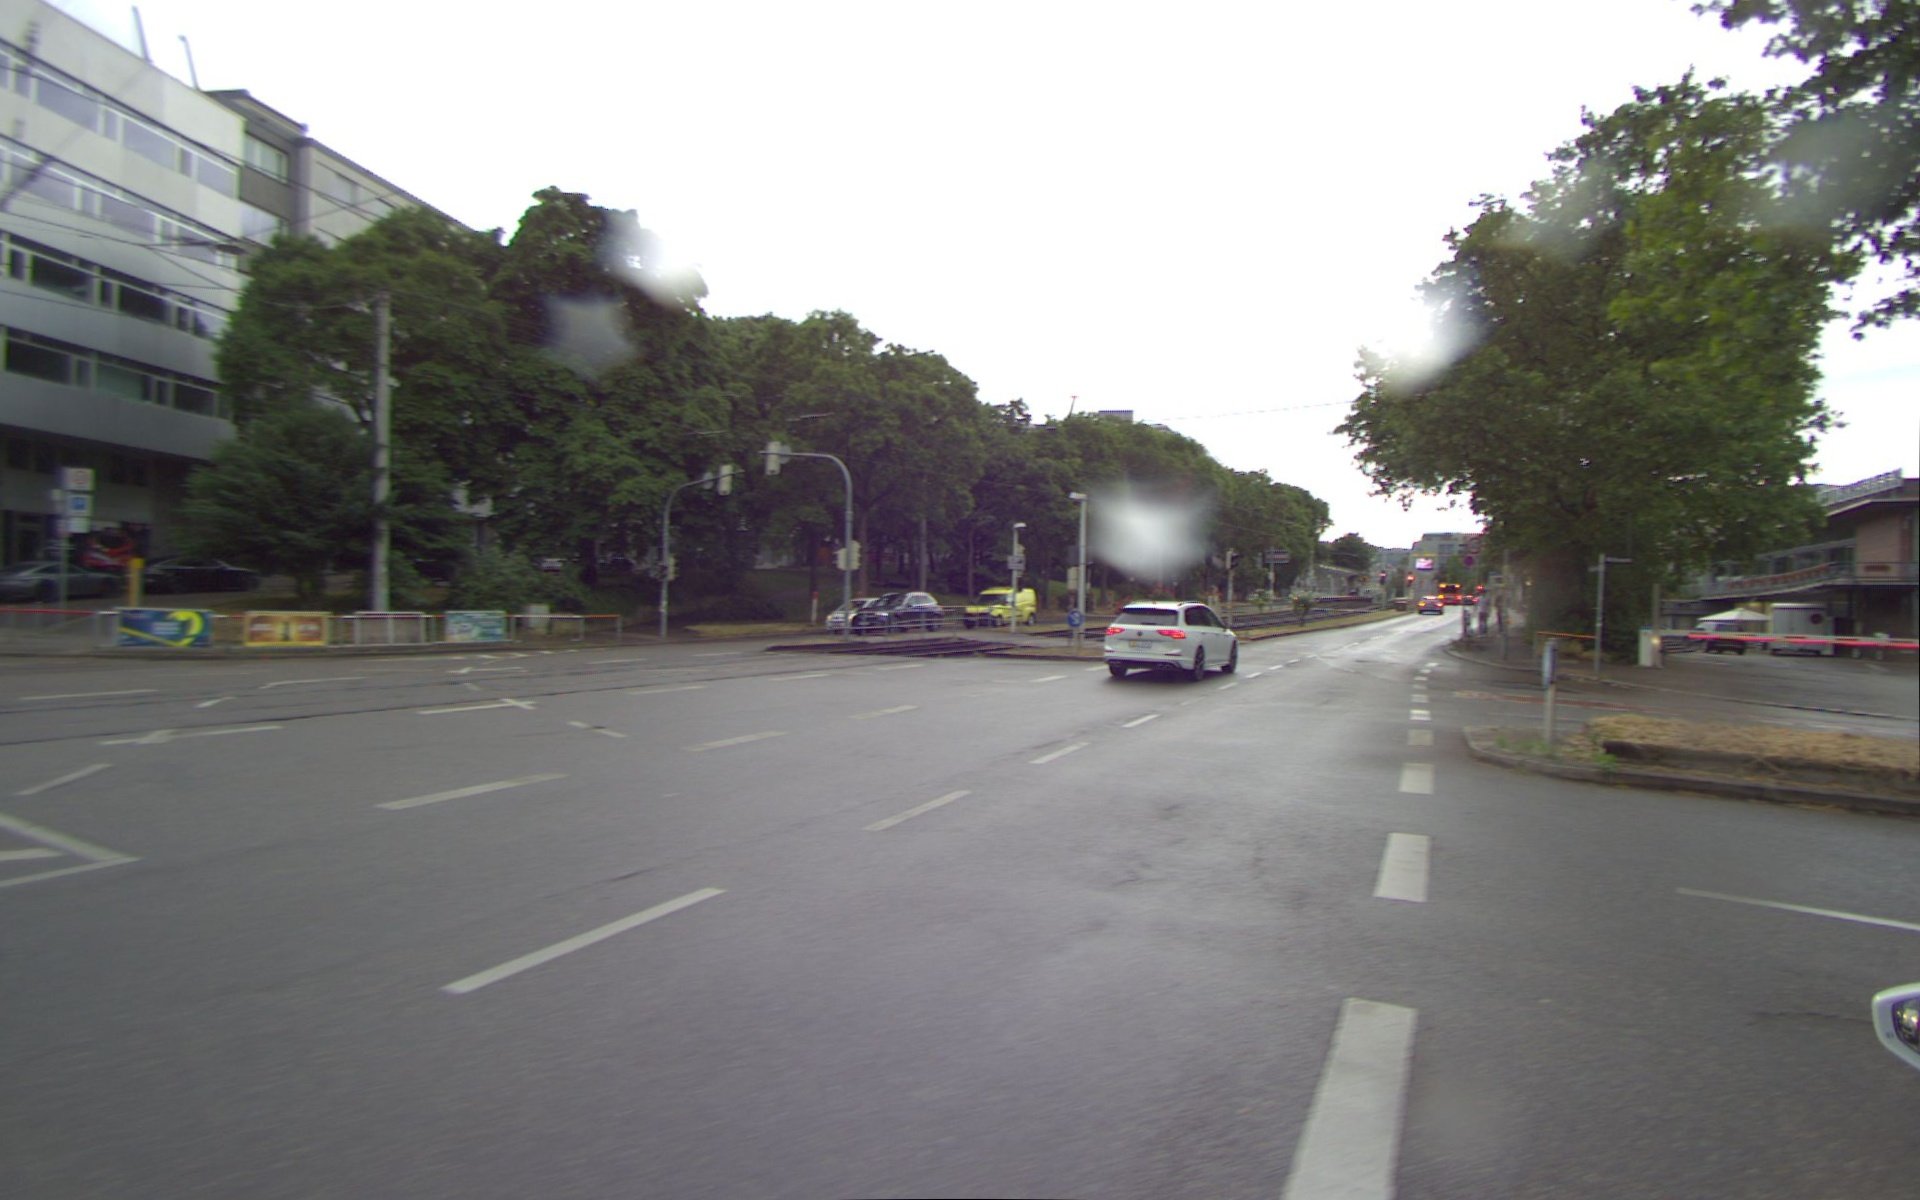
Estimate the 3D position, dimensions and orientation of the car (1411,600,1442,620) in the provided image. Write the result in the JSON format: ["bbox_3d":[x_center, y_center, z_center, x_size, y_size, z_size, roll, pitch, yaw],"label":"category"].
[{"bbox_3d":[37.577,0.768,80.927,1.964,1.539,4.343,-1,-1,29],"label":"car"}]

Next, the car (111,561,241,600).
[{"bbox_3d":[-30.669,-0.760,39.451,1.841,1.450,4.001,1,1,2],"label":"car"}]

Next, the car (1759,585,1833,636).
[{"bbox_3d":[47.914,0.547,57.718,2.696,2.731,6.897,1,1,36],"label":"car"}]

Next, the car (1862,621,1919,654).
[{"bbox_3d":[49.763,1.960,53.114,1.989,1.572,4.343,1,1,28],"label":"car"}]

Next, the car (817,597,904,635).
[{"bbox_3d":[-4.255,0.670,43.510,1.893,1.566,3.671,0,0,33],"label":"car"}]

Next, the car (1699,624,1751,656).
[{"bbox_3d":[43.458,2.223,57.002,1.997,1.572,4.326,2,1,42],"label":"car"}]

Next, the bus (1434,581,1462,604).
[{"bbox_3d":[72.267,-1.061,148.621,3.536,3.213,10.406,-1,-1,27],"label":"bus"}]

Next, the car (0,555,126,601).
[{"bbox_3d":[-30.959,-0.734,34.058,1.841,1.450,4.094,1,1,2],"label":"car"}]

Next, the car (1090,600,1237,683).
[{"bbox_3d":[4.188,0.789,20.111,1.768,1.461,4.470,-1,-1,26],"label":"car"}]

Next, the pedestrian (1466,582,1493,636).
[{"bbox_3d":[20.192,0.355,39.044,0.803,2.040,1.074,-1,0,33],"label":"pedestrian"}]

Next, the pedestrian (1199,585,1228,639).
[{"bbox_3d":[8.776,0.409,34.791,0.855,1.826,0.868,1,1,22],"label":"pedestrian"}]

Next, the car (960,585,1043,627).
[{"bbox_3d":[2.013,0.288,47.136,1.893,1.875,4.555,0,0,33],"label":"car"}]

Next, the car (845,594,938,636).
[{"bbox_3d":[-2.695,0.573,39.999,1.893,1.566,3.671,0,0,33],"label":"car"}]

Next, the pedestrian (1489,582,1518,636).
[{"bbox_3d":[20.881,0.357,38.577,0.862,2.040,1.074,-1,0,33],"label":"pedestrian"}]

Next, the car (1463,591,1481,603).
[{"bbox_3d":[77.032,-0.420,151.045,2.327,1.841,5.176,-1,-1,27],"label":"car"}]
